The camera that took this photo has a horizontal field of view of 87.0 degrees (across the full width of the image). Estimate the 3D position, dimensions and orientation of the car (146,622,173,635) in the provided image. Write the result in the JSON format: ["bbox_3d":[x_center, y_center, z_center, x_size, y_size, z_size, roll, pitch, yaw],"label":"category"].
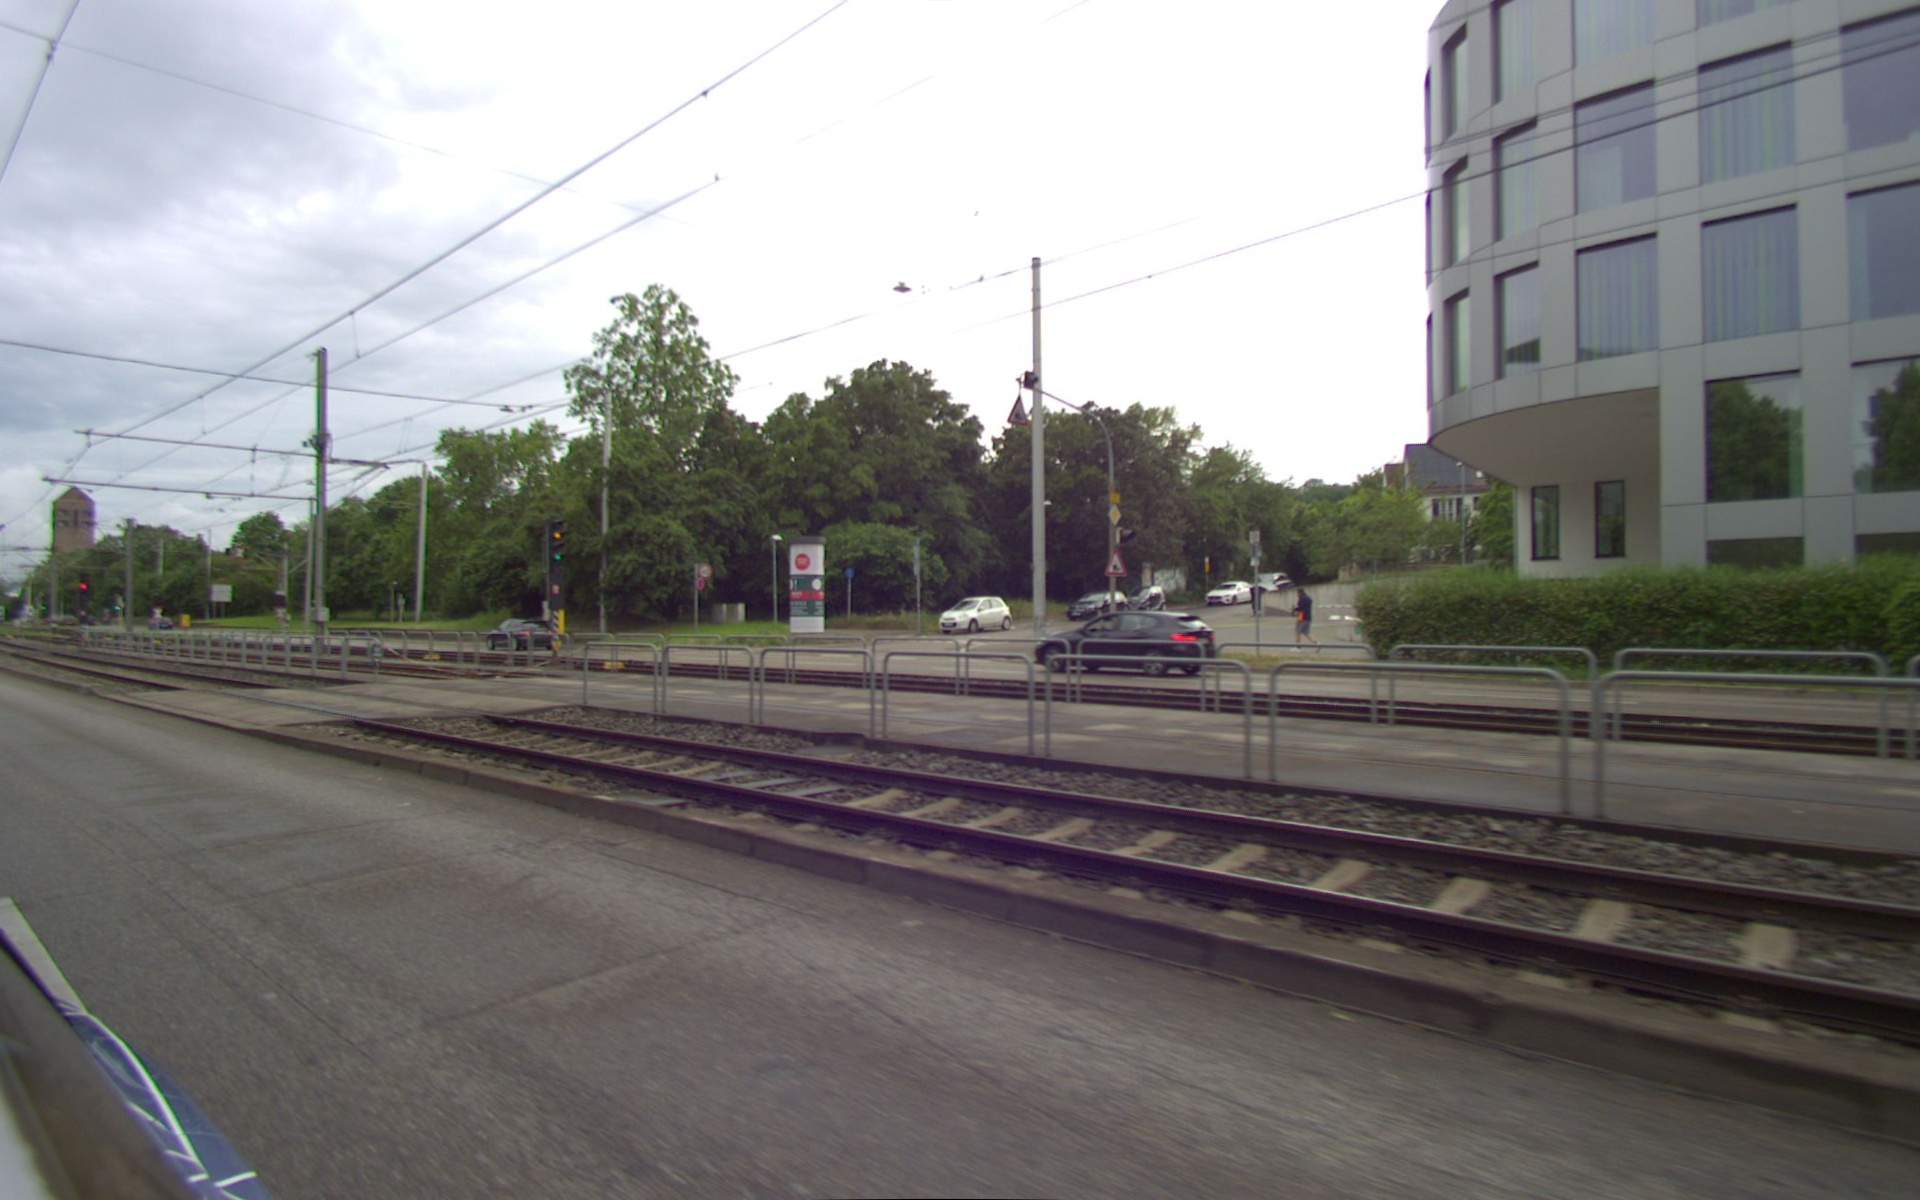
[{"bbox_3d":[-86.940,3.087,109.871,3.901,1.408,1.741,-1,-2,44],"label":"car"}]

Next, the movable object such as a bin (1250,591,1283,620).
[{"bbox_3d":[15.489,0.269,51.063,1.269,1.406,1.257,-1,1,34],"label":"movable object such as a bin"}]

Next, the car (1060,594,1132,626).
[{"bbox_3d":[7.068,0.516,52.235,1.871,1.464,4.035,-1,1,39],"label":"car"}]

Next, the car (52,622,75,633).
[{"bbox_3d":[-116.922,3.570,132.015,4.309,1.497,1.870,-1,-2,44],"label":"car"}]

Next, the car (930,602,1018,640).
[{"bbox_3d":[0.679,0.890,44.968,1.924,1.464,3.881,-1,1,39],"label":"car"}]

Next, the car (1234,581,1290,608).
[{"bbox_3d":[20.333,-0.394,68.026,1.946,1.673,4.095,-1,1,44],"label":"car"}]

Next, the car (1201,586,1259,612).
[{"bbox_3d":[17.080,-0.083,63.887,1.944,1.485,4.215,-1,1,39],"label":"car"}]

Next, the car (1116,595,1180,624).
[{"bbox_3d":[10.599,0.530,56.965,1.871,1.421,4.035,-1,1,39],"label":"car"}]

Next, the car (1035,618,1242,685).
[{"bbox_3d":[3.897,1.072,22.554,4.257,1.357,1.779,-1,-2,41],"label":"car"}]

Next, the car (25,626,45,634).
[{"bbox_3d":[-156.868,5.074,171.622,4.680,1.458,1.906,-1,-2,42],"label":"car"}]

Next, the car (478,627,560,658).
[{"bbox_3d":[-19.299,1.845,44.231,3.986,1.253,1.738,-1,-2,41],"label":"car"}]

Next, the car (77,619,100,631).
[{"bbox_3d":[-120.408,3.465,139.791,4.848,1.607,1.926,-1,-2,44],"label":"car"}]

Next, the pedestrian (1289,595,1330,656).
[{"bbox_3d":[9.653,0.685,27.969,0.845,1.660,0.716,-1,0,42],"label":"pedestrian"}]
